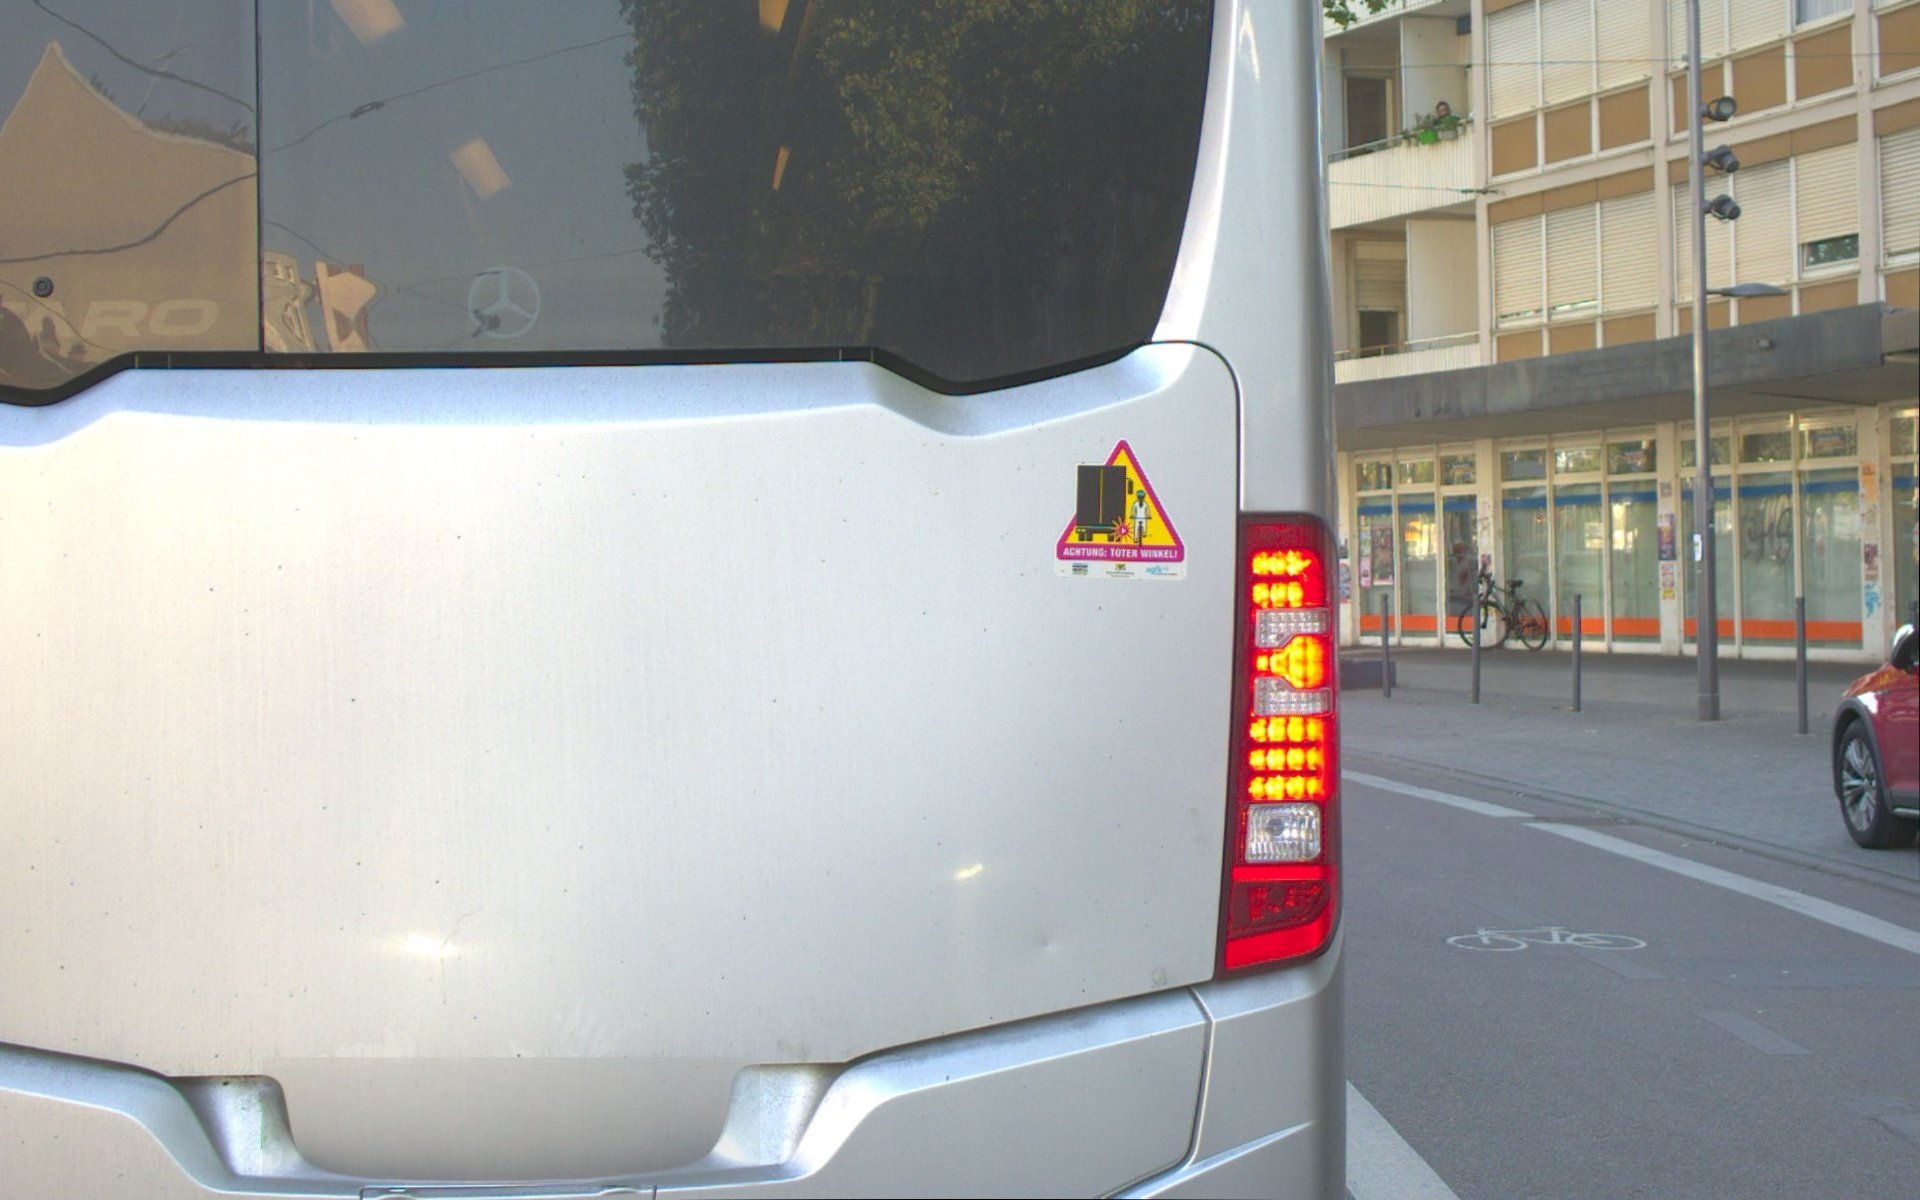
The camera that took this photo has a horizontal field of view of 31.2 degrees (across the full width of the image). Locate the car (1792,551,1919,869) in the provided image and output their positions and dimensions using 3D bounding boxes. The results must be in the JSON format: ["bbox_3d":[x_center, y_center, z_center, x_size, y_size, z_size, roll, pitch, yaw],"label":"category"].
[{"bbox_3d":[5.500,0.503,15.966,1.778,1.491,4.568,-3,1,-5],"label":"car"}]

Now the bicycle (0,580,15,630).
[{"bbox_3d":[-23.724,0.111,84.922,0.507,1.207,2.093,-1,1,-21],"label":"bicycle"}]

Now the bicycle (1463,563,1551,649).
[{"bbox_3d":[7.220,0.070,45.434,0.437,1.089,1.462,-4,2,-20],"label":"bicycle"}]

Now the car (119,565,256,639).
[{"bbox_3d":[-17.463,0.036,77.647,1.663,1.511,3.412,-5,4,-37],"label":"car"}]

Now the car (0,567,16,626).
[{"bbox_3d":[-25.698,-0.042,88.020,1.663,1.463,3.411,-5,4,-38],"label":"car"}]

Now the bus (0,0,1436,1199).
[{"bbox_3d":[-0.883,-0.134,9.924,2.657,3.088,10.217,-1,0,-2],"label":"bus"}]

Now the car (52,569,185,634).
[{"bbox_3d":[-19.826,0.018,80.962,1.663,1.390,3.411,-6,4,-39],"label":"car"}]
